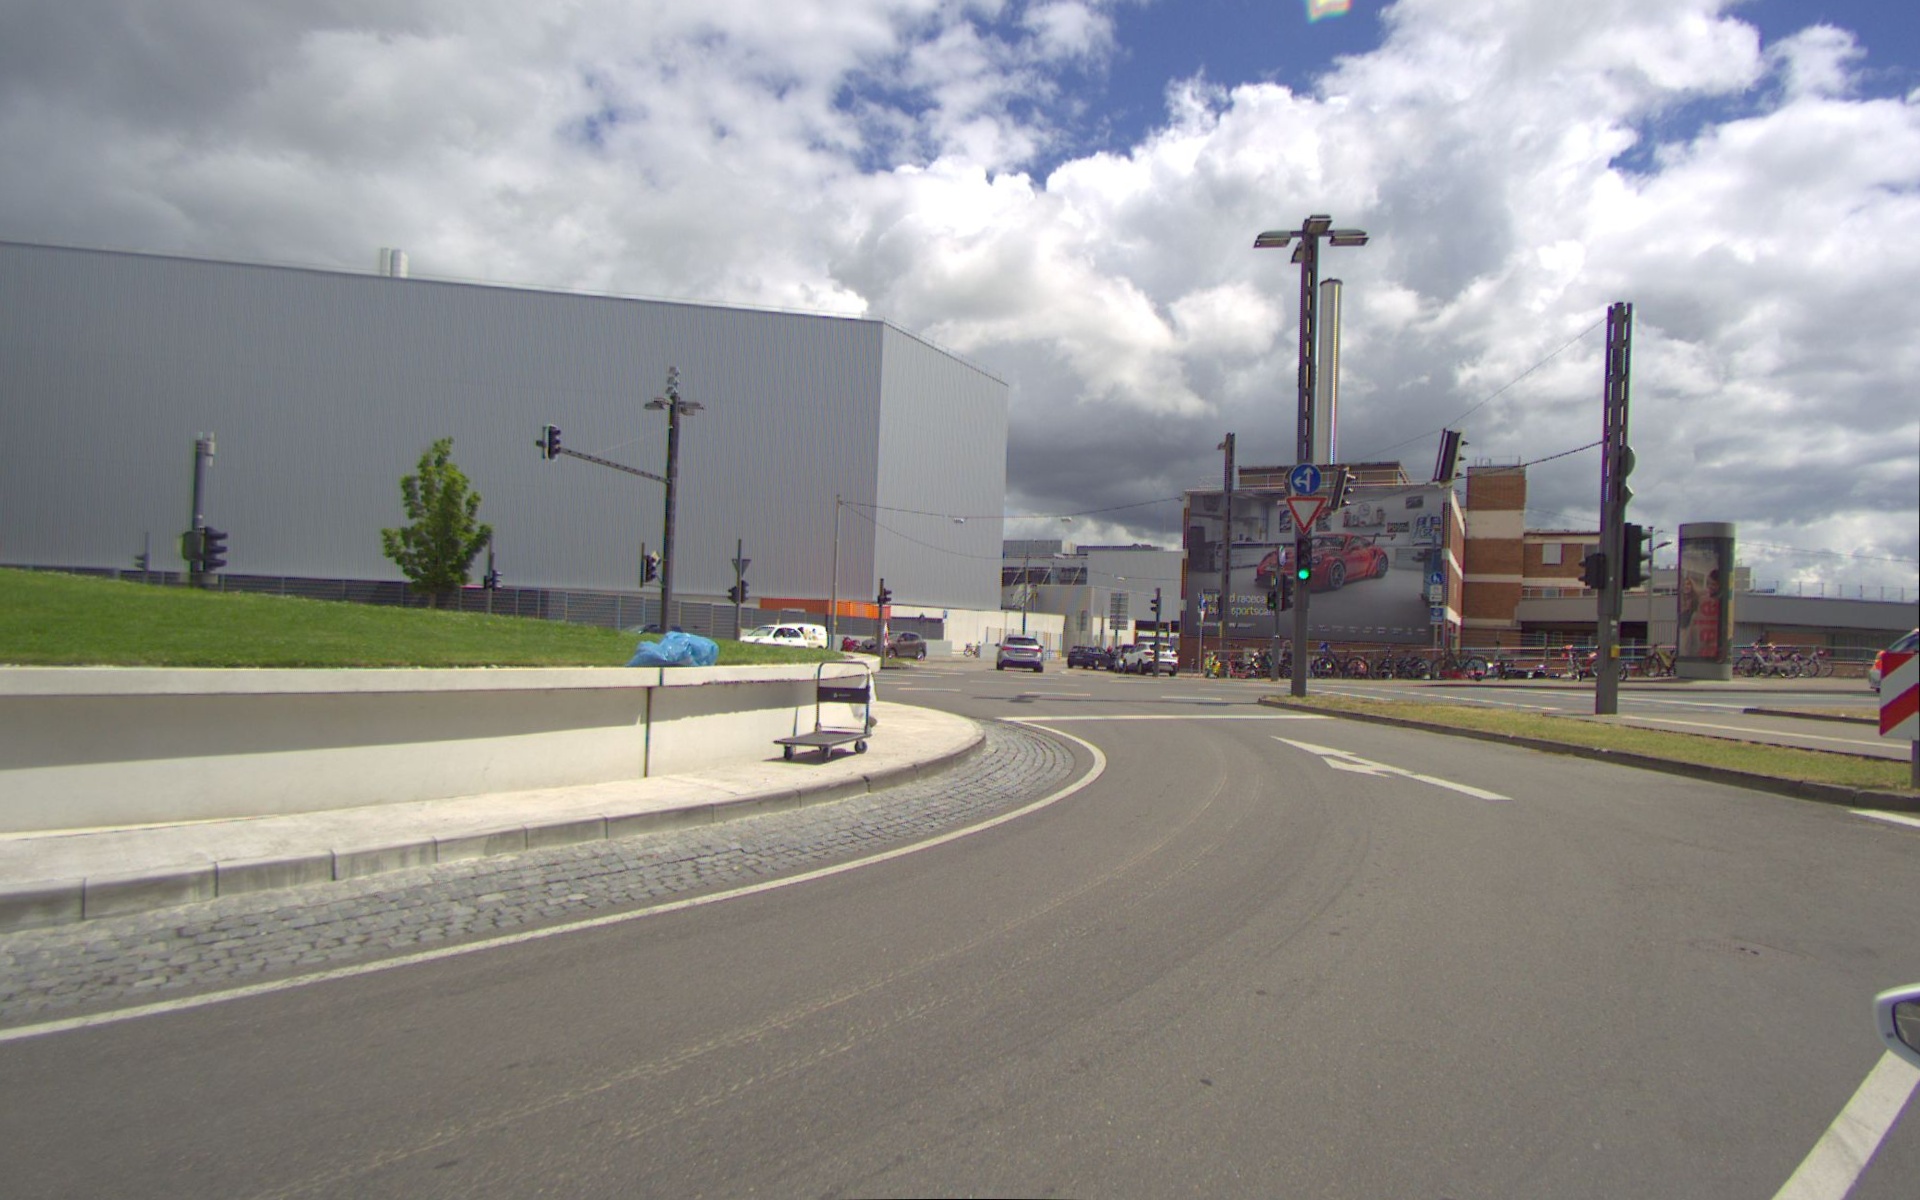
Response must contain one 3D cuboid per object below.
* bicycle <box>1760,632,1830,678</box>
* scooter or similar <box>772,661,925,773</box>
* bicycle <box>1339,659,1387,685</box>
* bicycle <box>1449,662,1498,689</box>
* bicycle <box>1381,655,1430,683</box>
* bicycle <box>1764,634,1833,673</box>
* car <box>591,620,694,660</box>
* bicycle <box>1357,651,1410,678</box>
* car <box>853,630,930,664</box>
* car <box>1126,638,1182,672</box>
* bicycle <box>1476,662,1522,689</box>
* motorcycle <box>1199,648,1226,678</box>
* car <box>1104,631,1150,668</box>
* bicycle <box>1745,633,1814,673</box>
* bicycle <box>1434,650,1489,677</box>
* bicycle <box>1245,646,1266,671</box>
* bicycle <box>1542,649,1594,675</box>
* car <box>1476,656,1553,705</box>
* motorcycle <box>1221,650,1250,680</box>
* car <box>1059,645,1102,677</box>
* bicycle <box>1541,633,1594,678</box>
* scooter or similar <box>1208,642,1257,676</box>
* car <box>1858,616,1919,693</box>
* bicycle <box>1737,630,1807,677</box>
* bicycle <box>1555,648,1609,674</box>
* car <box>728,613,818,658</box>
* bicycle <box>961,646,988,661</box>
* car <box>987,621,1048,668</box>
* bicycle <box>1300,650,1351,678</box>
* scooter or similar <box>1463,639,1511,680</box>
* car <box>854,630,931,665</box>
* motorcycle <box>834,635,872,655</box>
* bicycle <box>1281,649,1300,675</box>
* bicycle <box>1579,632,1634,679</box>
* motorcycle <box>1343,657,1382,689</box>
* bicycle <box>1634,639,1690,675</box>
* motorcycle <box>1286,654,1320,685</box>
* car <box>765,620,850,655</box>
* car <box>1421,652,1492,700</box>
[{"bbox_3d":[27.706,1.805,33.359,0.658,1.399,1.739,3,0,-10],"label":"bicycle"},{"bbox_3d":[-0.993,1.031,9.208,0.891,0.859,1.261,1,-1,22],"label":"scooter or similar"},{"bbox_3d":[14.735,2.615,36.745,1.583,0.878,0.491,0,-2,32],"label":"bicycle"},{"bbox_3d":[18.958,2.794,37.110,1.581,0.878,0.492,3,0,-8],"label":"bicycle"},{"bbox_3d":[16.261,2.515,36.662,1.580,0.878,0.492,3,0,25],"label":"bicycle"},{"bbox_3d":[28.277,1.779,33.909,0.658,1.198,1.739,2,0,-11],"label":"bicycle"},{"bbox_3d":[-13.797,1.745,43.845,1.773,1.577,3.945,3,0,36],"label":"car"},{"bbox_3d":[14.124,2.159,33.520,1.579,0.878,0.493,-1,-1,18],"label":"bicycle"},{"bbox_3d":[-3.492,2.436,52.063,1.781,1.565,4.228,3,0,32],"label":"car"},{"bbox_3d":[9.364,2.653,48.719,1.752,1.368,3.352,3,0,-6],"label":"car"},{"bbox_3d":[19.466,2.712,36.286,1.586,0.878,0.490,4,0,-20],"label":"bicycle"},{"bbox_3d":[11.820,2.922,47.120,0.901,1.211,2.915,3,0,8],"label":"motorcycle"},{"bbox_3d":[9.900,2.859,59.247,2.165,1.882,4.520,3,0,15],"label":"car"},{"bbox_3d":[27.491,1.769,33.717,0.658,1.198,1.738,-3,1,-13],"label":"bicycle"},{"bbox_3d":[16.561,2.101,33.197,1.579,0.878,0.493,0,-2,1],"label":"bicycle"},{"bbox_3d":[11.248,2.213,38.207,0.483,0.878,1.610,3,0,24],"label":"bicycle"},{"bbox_3d":[22.172,2.265,36.656,1.579,0.878,0.493,2,-2,1],"label":"bicycle"},{"bbox_3d":[24.497,3.508,44.506,1.670,1.828,3.485,3,0,6],"label":"car"},{"bbox_3d":[12.798,3.007,46.755,0.901,1.211,2.915,3,0,8],"label":"motorcycle"},{"bbox_3d":[7.292,3.656,60.720,1.960,1.658,4.002,3,0,15],"label":"car"},{"bbox_3d":[19.849,1.793,32.863,0.484,1.334,1.608,3,0,-10],"label":"bicycle"},{"bbox_3d":[9.794,2.135,36.077,1.606,1.196,0.501,-3,-4,35],"label":"scooter or similar"},{"bbox_3d":[27.336,1.506,27.057,4.744,2.009,1.999,1,-2,-5],"label":"car"},{"bbox_3d":[26.778,1.754,33.163,0.658,1.399,1.739,3,0,-10],"label":"bicycle"},{"bbox_3d":[22.214,2.179,35.881,1.579,0.878,0.493,-1,-2,2],"label":"bicycle"},{"bbox_3d":[-8.356,1.591,45.168,1.878,1.820,3.769,3,0,30],"label":"car"},{"bbox_3d":[1.227,4.547,85.376,2.308,1.222,0.446,4,0,-21],"label":"bicycle"},{"bbox_3d":[2.228,1.718,40.189,1.962,1.597,3.998,3,0,-3],"label":"car"},{"bbox_3d":[12.457,2.176,34.242,1.582,0.878,0.492,0,-2,31],"label":"bicycle"},{"bbox_3d":[16.947,1.907,32.326,1.365,1.248,0.494,0,1,-11],"label":"scooter or similar"},{"bbox_3d":[-3.449,2.444,52.016,1.794,1.577,4.215,3,0,32],"label":"car"},{"bbox_3d":[-6.978,2.955,65.551,0.937,1.245,2.747,3,-1,31],"label":"motorcycle"},{"bbox_3d":[12.403,2.322,37.662,0.483,0.878,1.610,3,0,24],"label":"bicycle"},{"bbox_3d":[21.133,1.805,32.871,0.484,1.401,1.608,3,0,-10],"label":"bicycle"},{"bbox_3d":[18.025,3.240,45.007,0.901,1.211,2.915,3,0,8],"label":"motorcycle"},{"bbox_3d":[23.275,1.865,33.332,0.484,1.070,1.608,3,0,-10],"label":"bicycle"},{"bbox_3d":[15.643,3.151,45.867,0.901,1.211,2.915,3,0,8],"label":"motorcycle"},{"bbox_3d":[-7.884,1.965,52.370,1.966,1.645,4.280,3,0,33],"label":"car"},{"bbox_3d":[21.957,3.311,44.536,1.597,1.808,3.485,3,0,6],"label":"car"}]
